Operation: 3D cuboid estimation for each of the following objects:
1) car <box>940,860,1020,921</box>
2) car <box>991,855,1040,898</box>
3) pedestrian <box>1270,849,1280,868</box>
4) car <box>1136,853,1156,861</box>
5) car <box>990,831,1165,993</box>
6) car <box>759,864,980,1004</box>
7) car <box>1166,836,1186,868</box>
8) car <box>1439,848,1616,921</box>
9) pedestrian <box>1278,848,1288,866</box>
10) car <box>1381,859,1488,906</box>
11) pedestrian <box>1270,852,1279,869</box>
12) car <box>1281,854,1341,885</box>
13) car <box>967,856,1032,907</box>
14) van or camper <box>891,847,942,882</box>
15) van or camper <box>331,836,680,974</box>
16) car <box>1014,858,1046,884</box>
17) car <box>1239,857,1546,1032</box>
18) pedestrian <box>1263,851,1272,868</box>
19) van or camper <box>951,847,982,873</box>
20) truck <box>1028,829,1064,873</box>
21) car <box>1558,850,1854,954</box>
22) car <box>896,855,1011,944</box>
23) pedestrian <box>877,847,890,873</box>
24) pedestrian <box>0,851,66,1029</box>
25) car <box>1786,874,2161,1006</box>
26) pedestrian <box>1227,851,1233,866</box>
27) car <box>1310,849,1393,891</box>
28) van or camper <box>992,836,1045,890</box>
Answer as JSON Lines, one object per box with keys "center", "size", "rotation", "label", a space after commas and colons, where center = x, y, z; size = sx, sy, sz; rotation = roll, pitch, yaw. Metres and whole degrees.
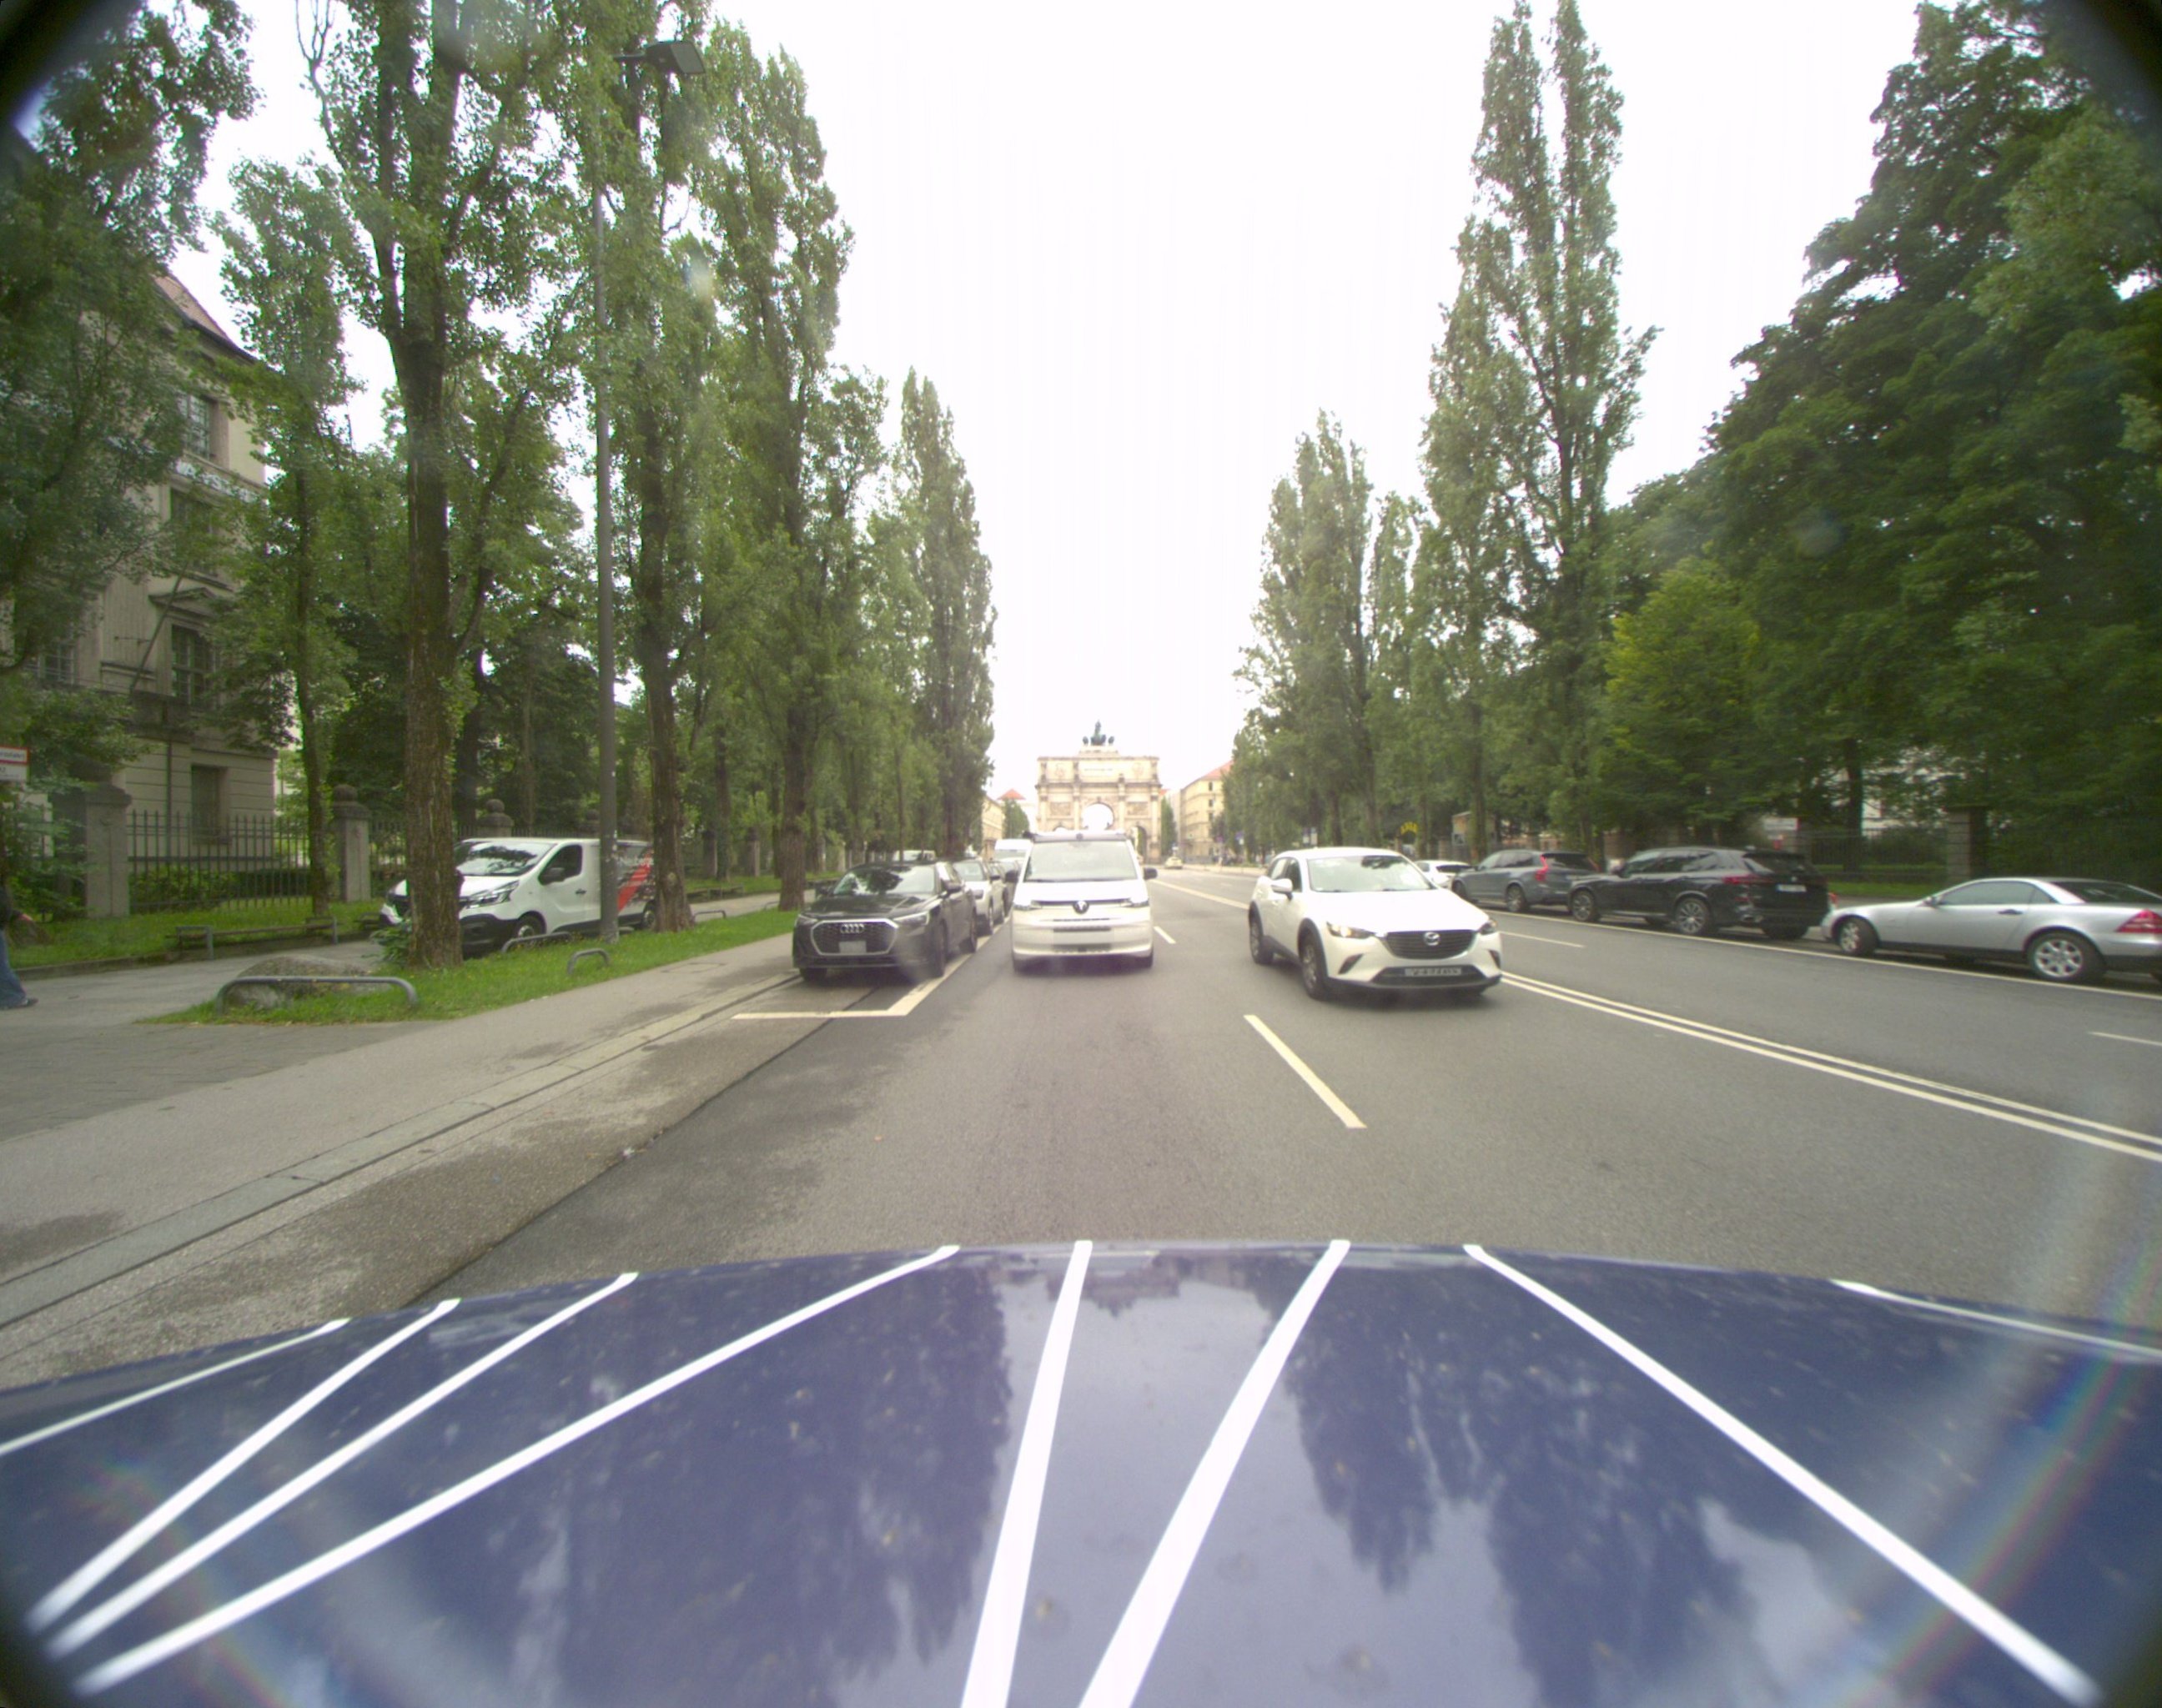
{"center": [-2.775, 0.953, 21.645], "size": [1.707, 1.511, 4.295], "rotation": [-1, 0, 0], "label": "car"}
{"center": [-2.672, 0.872, 31.786], "size": [1.789, 1.639, 4.417], "rotation": [-1, 0, -2], "label": "car"}
{"center": [18.875, 0.395, 73.930], "size": [0.711, 1.823, 1.092], "rotation": [-1, 1, -1], "label": "pedestrian"}
{"center": [14.002, 0.613, 163.512], "size": [2.004, 1.739, 3.989], "rotation": [-1, 0, -40], "label": "car"}
{"center": [-0.020, 0.691, 12.061], "size": [2.064, 1.916, 5.728], "rotation": [-1, 0, 0], "label": "car"}
{"center": [-2.707, 0.946, 10.891], "size": [1.885, 1.531, 4.464], "rotation": [-1, 0, 0], "label": "car"}
{"center": [11.659, -0.269, 93.099], "size": [1.798, 1.334, 4.448], "rotation": [11, 35, -6], "label": "car"}
{"center": [12.494, 0.757, 21.770], "size": [1.914, 1.779, 5.179], "rotation": [2, 0, -1], "label": "car"}
{"center": [19.652, 0.294, 73.944], "size": [0.711, 1.762, 1.092], "rotation": [0, 1, -1], "label": "pedestrian"}
{"center": [12.357, 0.926, 26.855], "size": [1.708, 1.450, 4.272], "rotation": [2, 0, -1], "label": "car"}
{"center": [19.444, 0.637, 76.290], "size": [0.661, 1.706, 0.911], "rotation": [0, 0, -1], "label": "pedestrian"}
{"center": [12.495, 0.826, 41.653], "size": [1.949, 1.574, 4.388], "rotation": [1, 0, 0], "label": "car"}
{"center": [-2.754, 0.871, 26.541], "size": [1.788, 1.608, 4.637], "rotation": [-1, 0, 0], "label": "car"}
{"center": [-9.783, 0.581, 45.506], "size": [1.980, 1.922, 5.037], "rotation": [-2, 0, -1], "label": "van or camper"}
{"center": [-9.693, 0.735, 13.615], "size": [2.081, 1.922, 5.368], "rotation": [-2, 0, 0], "label": "van or camper"}
{"center": [-2.982, 0.964, 45.122], "size": [1.680, 1.412, 3.999], "rotation": [-1, 0, -2], "label": "car"}
{"center": [3.167, 0.809, 8.710], "size": [1.910, 1.516, 4.009], "rotation": [-1, 0, 1], "label": "car"}
{"center": [18.729, 0.545, 76.206], "size": [0.689, 1.690, 0.885], "rotation": [0, 0, -1], "label": "pedestrian"}
{"center": [-9.741, 0.499, 64.991], "size": [2.009, 2.002, 4.985], "rotation": [-2, 0, -2], "label": "van or camper"}
{"center": [-2.996, -0.244, 68.335], "size": [2.852, 3.543, 10.277], "rotation": [-1, 0, -1], "label": "truck"}
{"center": [12.435, 0.828, 15.693], "size": [1.946, 1.757, 4.894], "rotation": [2, 0, -2], "label": "car"}
{"center": [-2.631, 0.867, 16.713], "size": [1.747, 1.665, 4.579], "rotation": [-1, 0, 0], "label": "car"}
{"center": [-15.260, 0.436, 58.708], "size": [0.905, 2.002, 0.956], "rotation": [0, 1, -16], "label": "pedestrian"}
{"center": [-10.838, 0.827, 7.350], "size": [0.855, 1.707, 0.867], "rotation": [1, 1, -1], "label": "pedestrian"}
{"center": [12.543, 1.015, 10.384], "size": [1.831, 1.326, 4.233], "rotation": [2, 0, -1], "label": "car"}
{"center": [17.804, 0.553, 90.921], "size": [0.533, 1.720, 0.583], "rotation": [-1, 0, -11], "label": "pedestrian"}
{"center": [12.448, 0.696, 35.322], "size": [2.051, 1.776, 4.799], "rotation": [2, 0, 0], "label": "car"}
{"center": [-3.047, 0.412, 38.606], "size": [2.144, 2.525, 6.416], "rotation": [-1, 0, 0], "label": "van or camper"}
